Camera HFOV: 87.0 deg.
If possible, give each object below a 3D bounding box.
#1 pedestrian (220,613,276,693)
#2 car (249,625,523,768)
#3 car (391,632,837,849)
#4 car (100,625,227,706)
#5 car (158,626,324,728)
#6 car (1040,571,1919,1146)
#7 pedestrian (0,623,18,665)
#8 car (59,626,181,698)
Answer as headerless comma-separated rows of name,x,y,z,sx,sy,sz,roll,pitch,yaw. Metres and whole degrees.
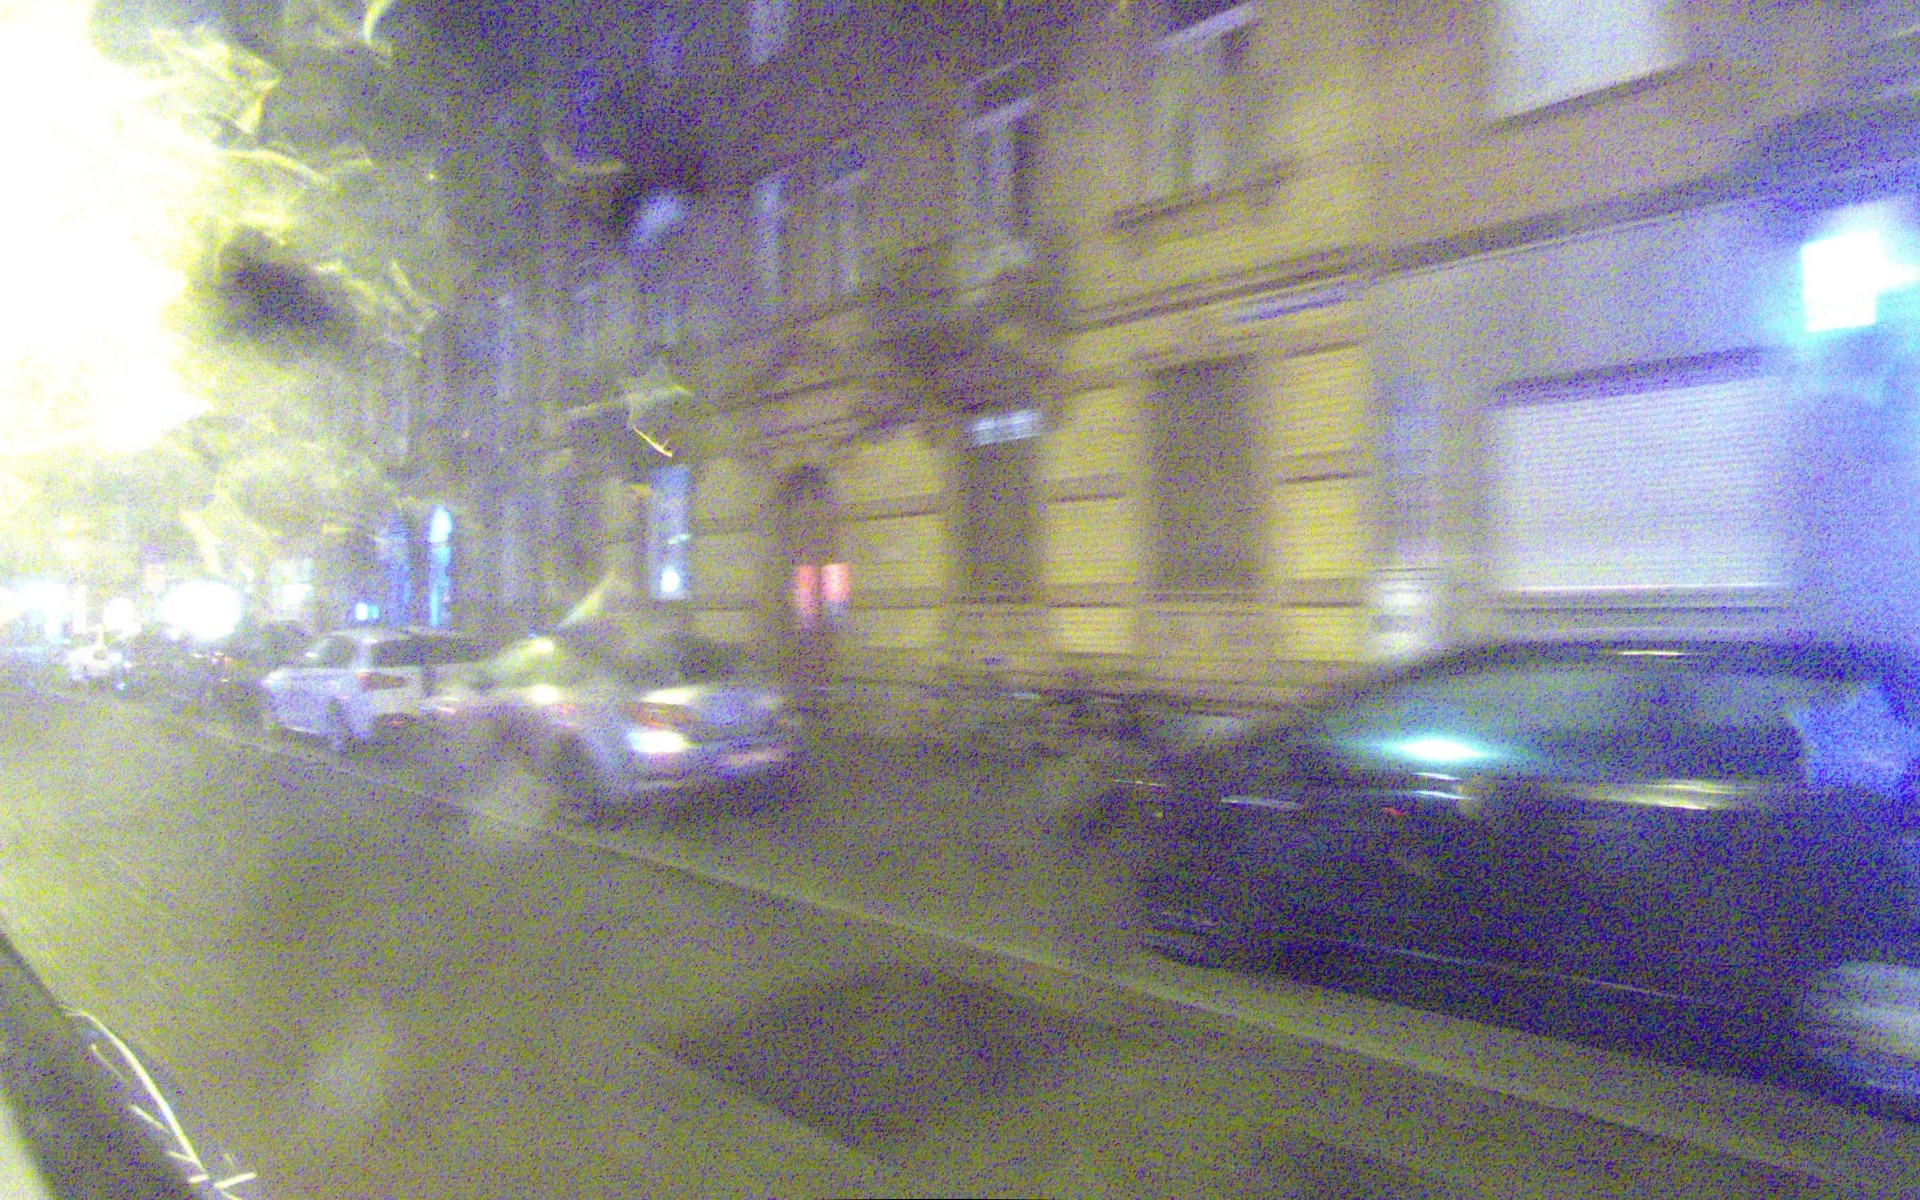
pedestrian,-16.708,1.217,23.758,0.629,1.801,0.900,-1,1,42
car,-7.267,1.072,12.623,4.271,1.464,1.708,-2,-1,42
car,-3.232,1.007,8.876,4.553,1.402,1.708,-2,-1,42
car,-16.322,1.312,20.689,1.673,1.490,3.385,0,-3,-45
car,-11.773,1.180,16.504,3.382,1.464,1.512,-2,-2,42
car,2.338,0.746,4.233,3.718,1.587,1.708,-2,-2,42
pedestrian,-47.669,2.198,50.591,0.587,2.029,0.766,-1,1,41
car,-19.390,1.399,23.298,3.962,1.490,1.674,-3,-2,43
